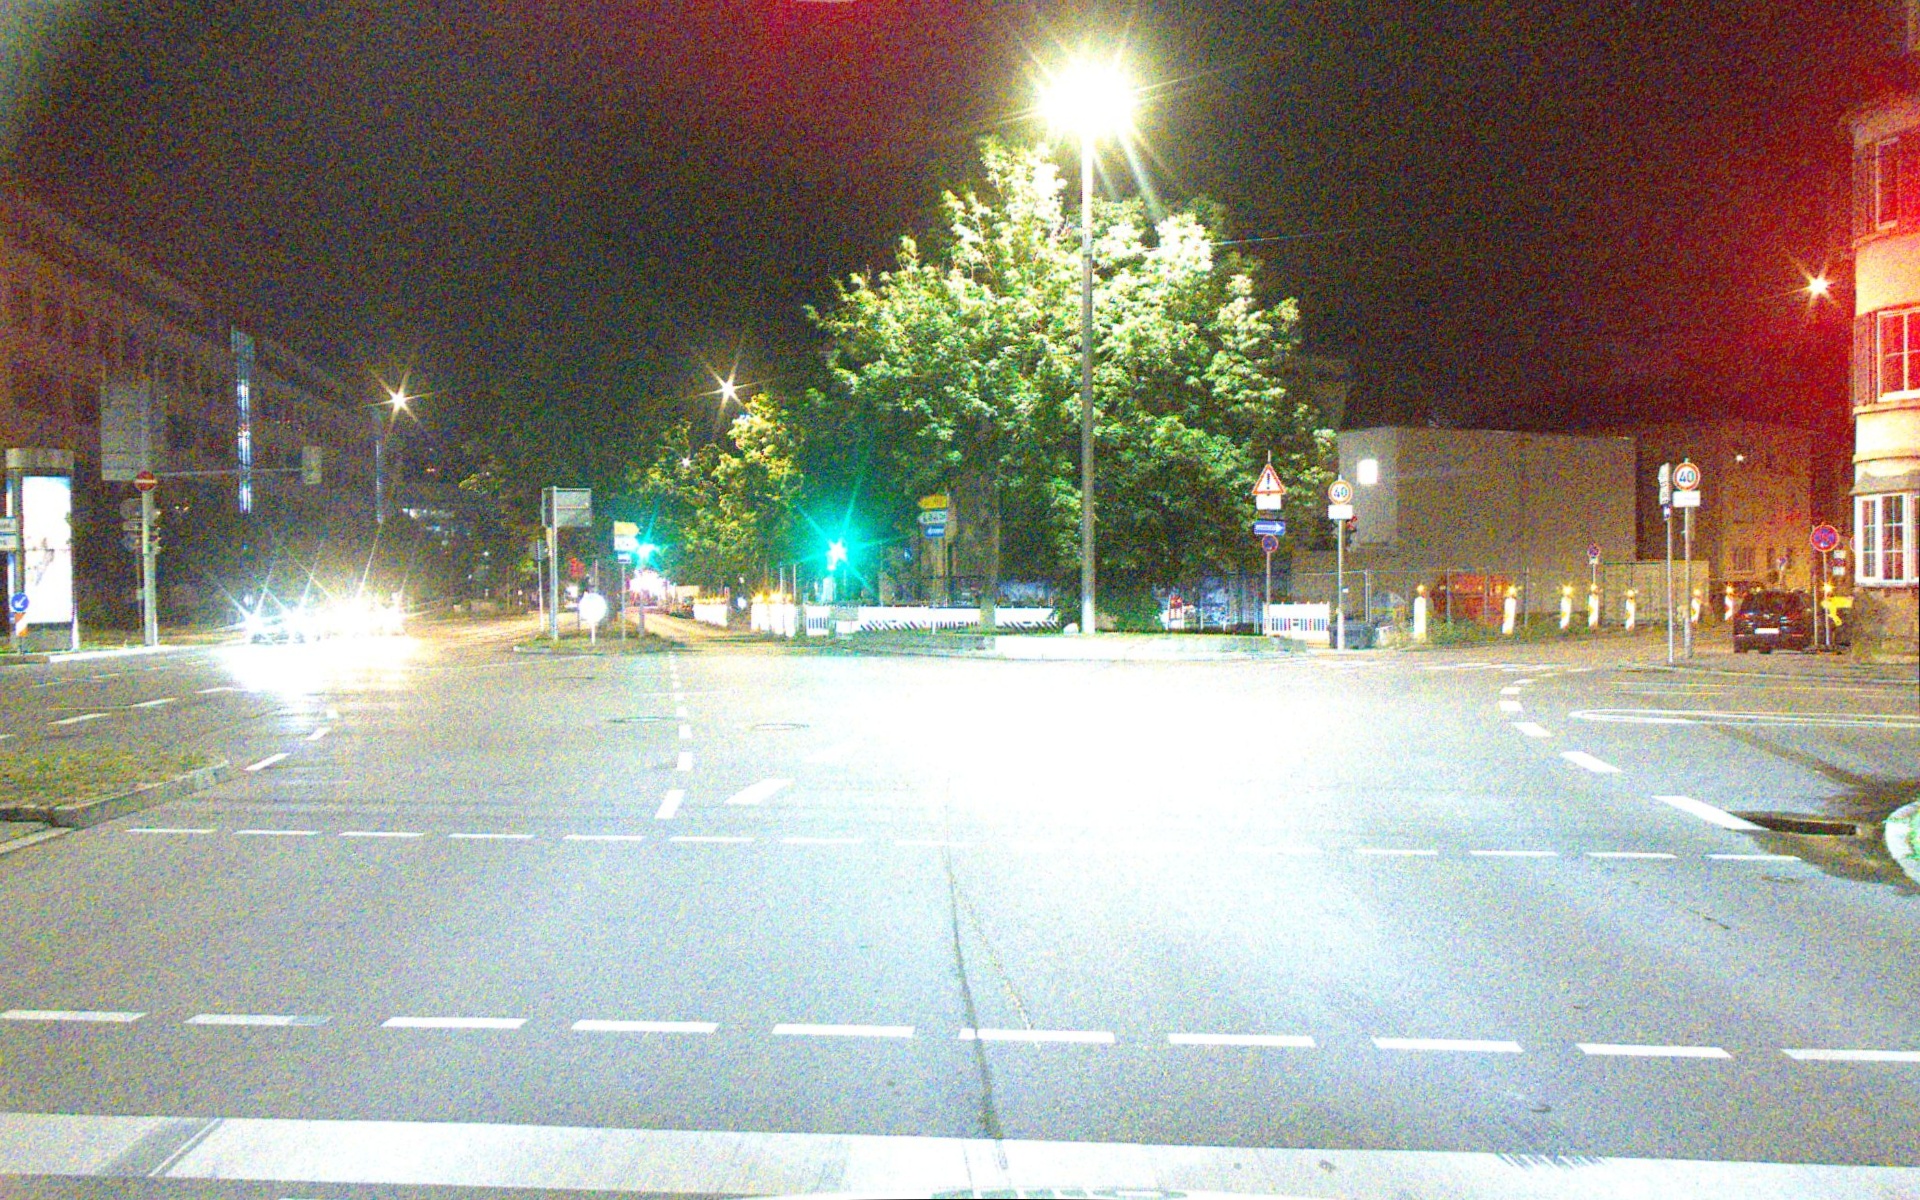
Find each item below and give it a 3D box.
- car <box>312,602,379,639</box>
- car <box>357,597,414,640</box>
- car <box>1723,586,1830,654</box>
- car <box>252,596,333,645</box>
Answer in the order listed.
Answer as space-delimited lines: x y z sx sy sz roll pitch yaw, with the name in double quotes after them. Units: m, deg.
-22.840 0.764 61.582 1.726 1.345 3.539 0 -1 -10 "car"
-24.396 0.781 70.367 1.726 1.758 3.539 0 -1 -10 "car"
20.534 0.491 41.538 1.700 1.640 3.607 -1 -1 38 "car"
-21.813 0.661 54.179 1.586 1.541 3.991 0 -1 -9 "car"
